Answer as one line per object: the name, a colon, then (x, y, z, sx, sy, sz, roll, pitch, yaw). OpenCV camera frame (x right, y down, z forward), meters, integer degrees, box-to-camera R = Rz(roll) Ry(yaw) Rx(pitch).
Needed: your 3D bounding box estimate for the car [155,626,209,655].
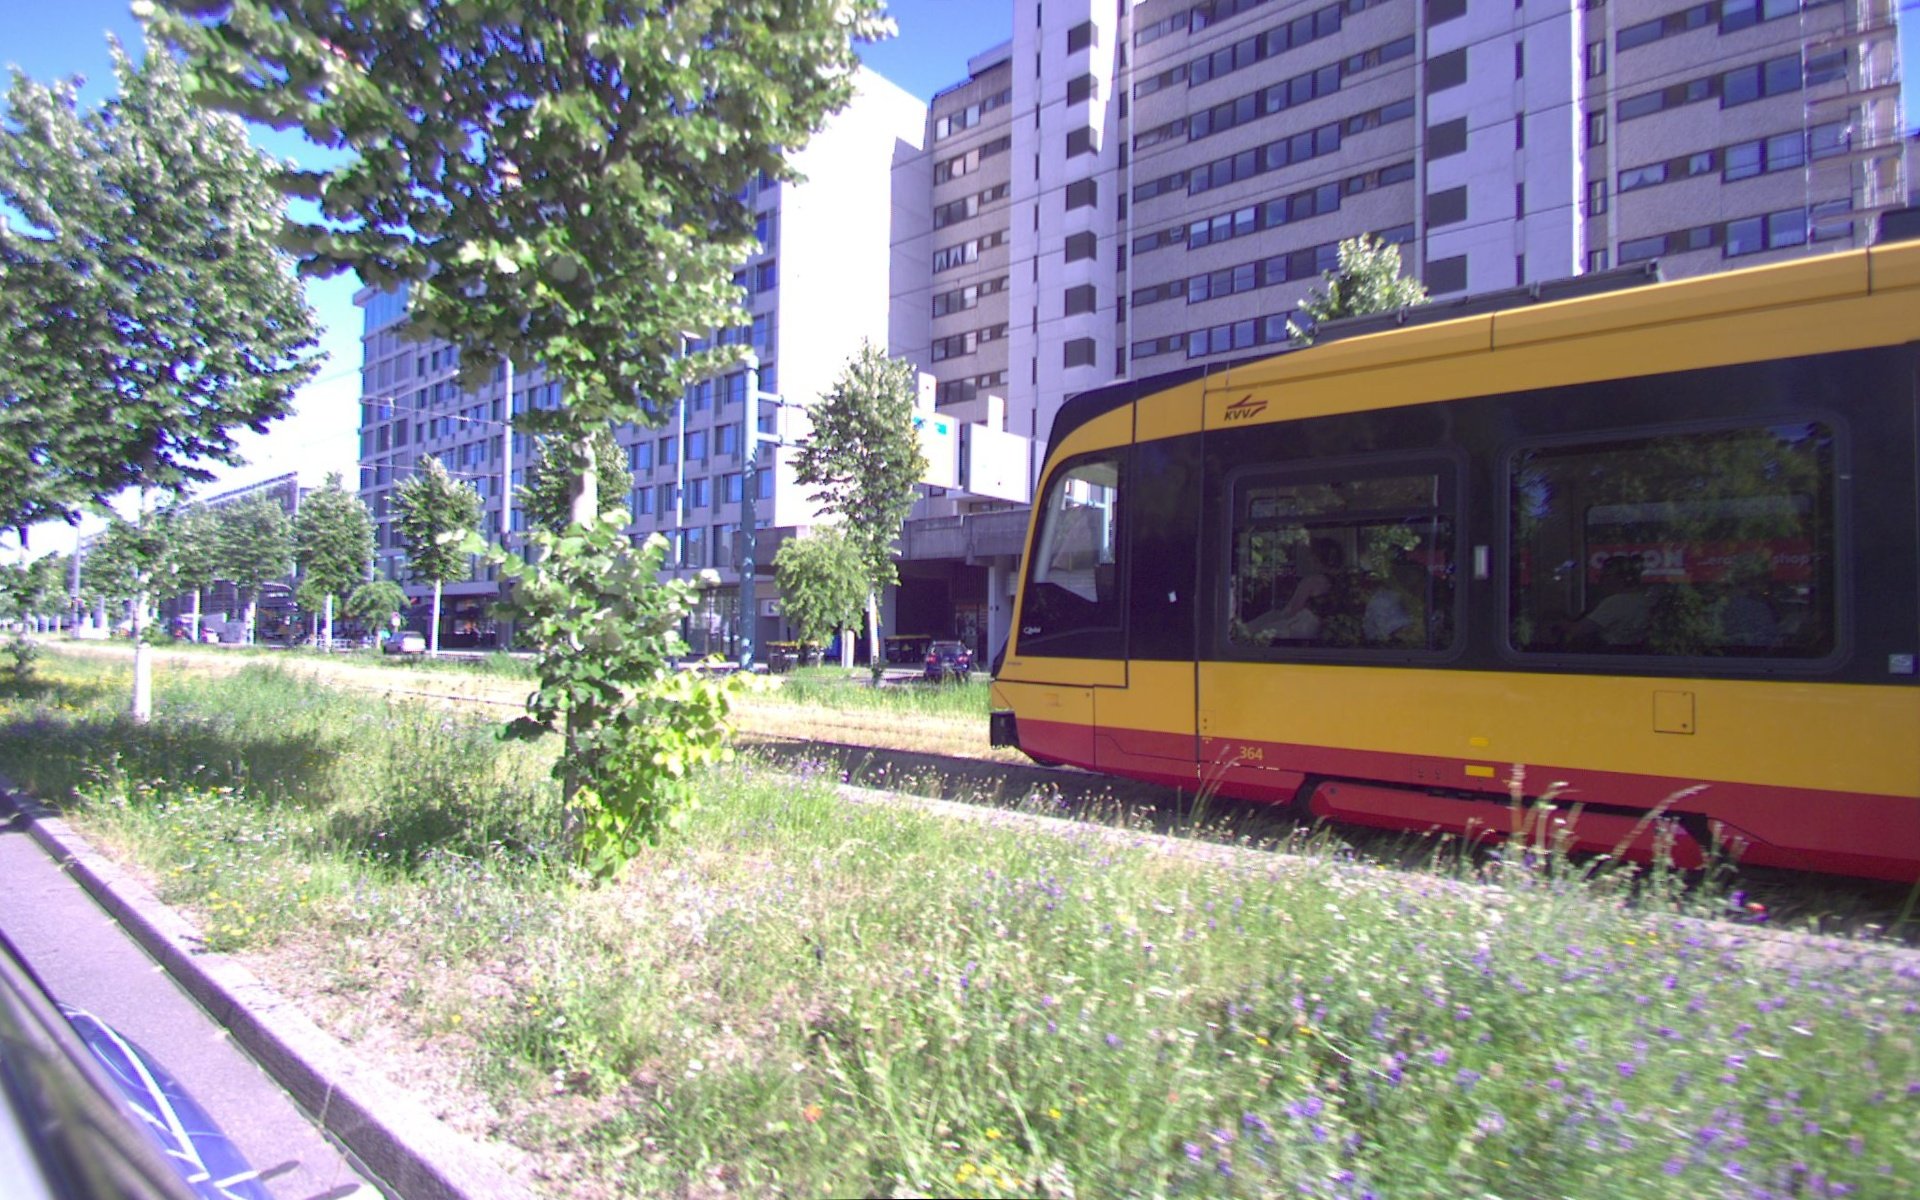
car: (-50.495, 2.583, 65.658, 4.284, 1.833, 1.972, -1, -2, 42)

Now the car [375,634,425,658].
car: (-38.436, 3.153, 69.441, 3.770, 1.561, 1.841, -1, -2, 41)

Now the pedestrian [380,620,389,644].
pedestrian: (-44.196, 2.441, 77.736, 0.501, 1.854, 0.516, 1, -2, -38)

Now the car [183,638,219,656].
car: (-67.686, 4.135, 90.283, 3.811, 1.519, 1.804, -1, -2, 41)

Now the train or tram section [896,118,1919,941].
train or tram section: (5.499, -0.321, 4.835, 14.139, 3.697, 1.973, -1, -2, 40)

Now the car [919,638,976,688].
car: (-0.522, 2.279, 37.619, 1.768, 1.697, 4.005, 0, -1, -6)
